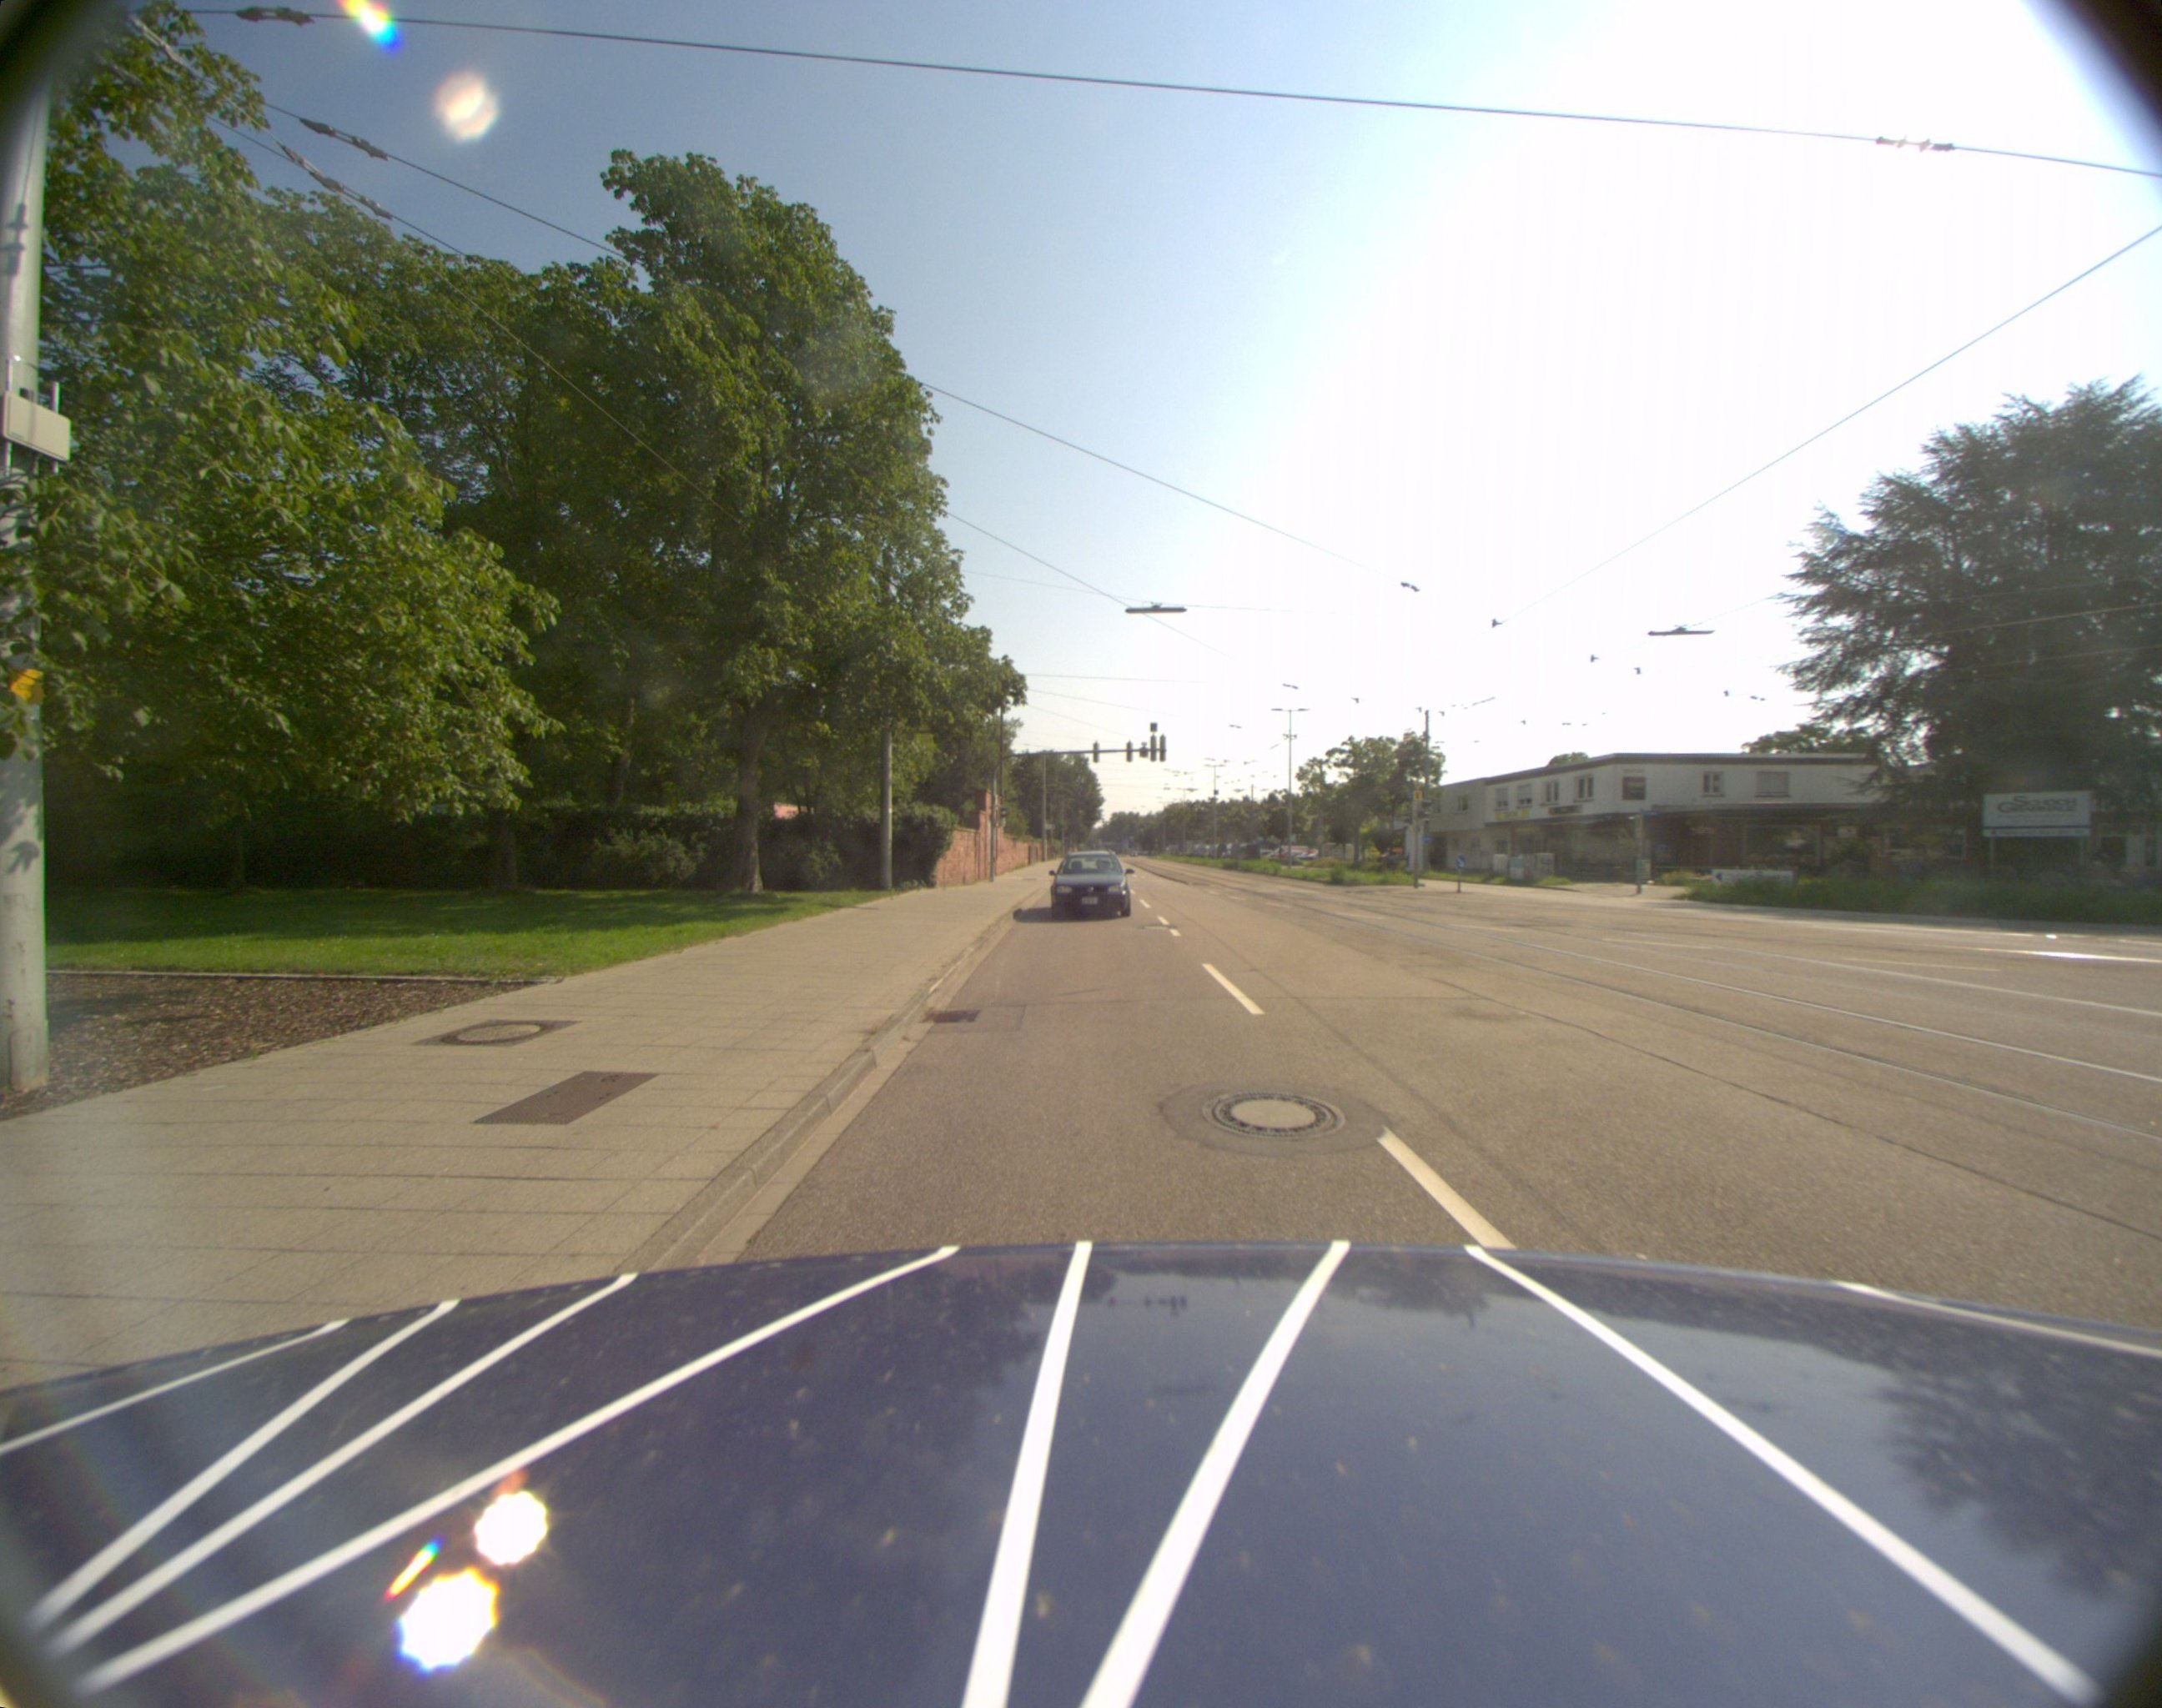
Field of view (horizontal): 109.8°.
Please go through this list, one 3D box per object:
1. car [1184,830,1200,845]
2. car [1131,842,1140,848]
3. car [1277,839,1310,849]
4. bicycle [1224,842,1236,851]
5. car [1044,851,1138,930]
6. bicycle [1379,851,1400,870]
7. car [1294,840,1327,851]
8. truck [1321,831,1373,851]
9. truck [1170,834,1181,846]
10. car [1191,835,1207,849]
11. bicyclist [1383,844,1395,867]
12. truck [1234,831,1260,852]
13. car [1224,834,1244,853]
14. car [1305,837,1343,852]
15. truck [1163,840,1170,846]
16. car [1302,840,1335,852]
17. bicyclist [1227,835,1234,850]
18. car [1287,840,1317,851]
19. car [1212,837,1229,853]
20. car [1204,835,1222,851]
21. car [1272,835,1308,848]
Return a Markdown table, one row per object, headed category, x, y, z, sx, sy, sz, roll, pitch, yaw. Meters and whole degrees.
| category | x | y | z | sx | sy | sz | roll | pitch | yaw |
| --- | --- | --- | --- | --- | --- | --- | --- | --- | --- |
| car | 22.286 | -3.344 | 152.631 | 2.129 | 2.789 | 7.230 | 2 | 1 | 2 |
| car | 12.962 | -2.126 | 180.750 | 1.726 | 1.317 | 3.999 | 2 | 1 | 1 |
| car | 33.215 | -1.538 | 118.819 | 4.665 | 1.442 | 1.633 | 2 | 2 | 0 |
| bicycle | 19.641 | -1.019 | 100.142 | 0.717 | 1.085 | 2.263 | 2 | 1 | -8 |
| car | 0.282 | 0.704 | 16.647 | 1.776 | 1.416 | 3.935 | -2 | 1 | 2 |
| bicycle | 20.478 | 0.438 | 50.498 | 0.576 | 1.172 | 2.208 | 2 | 0 | 3 |
| car | 32.515 | -1.230 | 107.529 | 4.168 | 1.455 | 1.624 | 1 | 1 | -4 |
| truck | 32.412 | -1.623 | 92.795 | 5.503 | 2.160 | 2.259 | 2 | 2 | 0 |
| truck | 24.441 | -3.626 | 195.974 | 2.278 | 3.104 | 8.787 | 2 | 1 | 4 |
| car | 22.162 | -2.283 | 143.049 | 2.148 | 2.444 | 4.831 | 2 | 1 | 0 |
| bicyclist | 20.488 | 0.087 | 50.549 | 0.569 | 1.514 | 0.490 | 2 | 2 | 3 |
| truck | 21.441 | -1.675 | 98.324 | 2.086 | 2.533 | 5.738 | 2 | 1 | 1 |
| car | 21.704 | -1.472 | 108.044 | 1.993 | 2.571 | 6.467 | -1 | 1 | 3 |
| car | 32.177 | -1.239 | 100.534 | 4.409 | 1.775 | 1.633 | 2 | 2 | 0 |
| truck | 25.440 | -3.177 | 226.507 | 1.691 | 1.665 | 3.655 | 2 | 1 | 2 |
| car | 32.180 | -1.079 | 103.134 | 3.933 | 1.510 | 1.633 | 2 | 2 | 0 |
| bicyclist | 19.682 | -1.507 | 99.929 | 0.639 | 2.052 | 0.774 | 2 | 2 | -7 |
| car | 33.037 | -1.275 | 113.534 | 3.933 | 1.442 | 1.633 | 2 | 2 | 0 |
| car | 22.025 | -1.422 | 120.425 | 1.826 | 2.571 | 5.910 | -1 | 1 | 3 |
| car | 22.427 | -1.922 | 128.859 | 2.137 | 2.571 | 5.630 | 2 | 1 | 2 |
| car | 33.539 | -2.006 | 121.837 | 5.198 | 1.915 | 2.052 | 2 | 2 | 0 |
